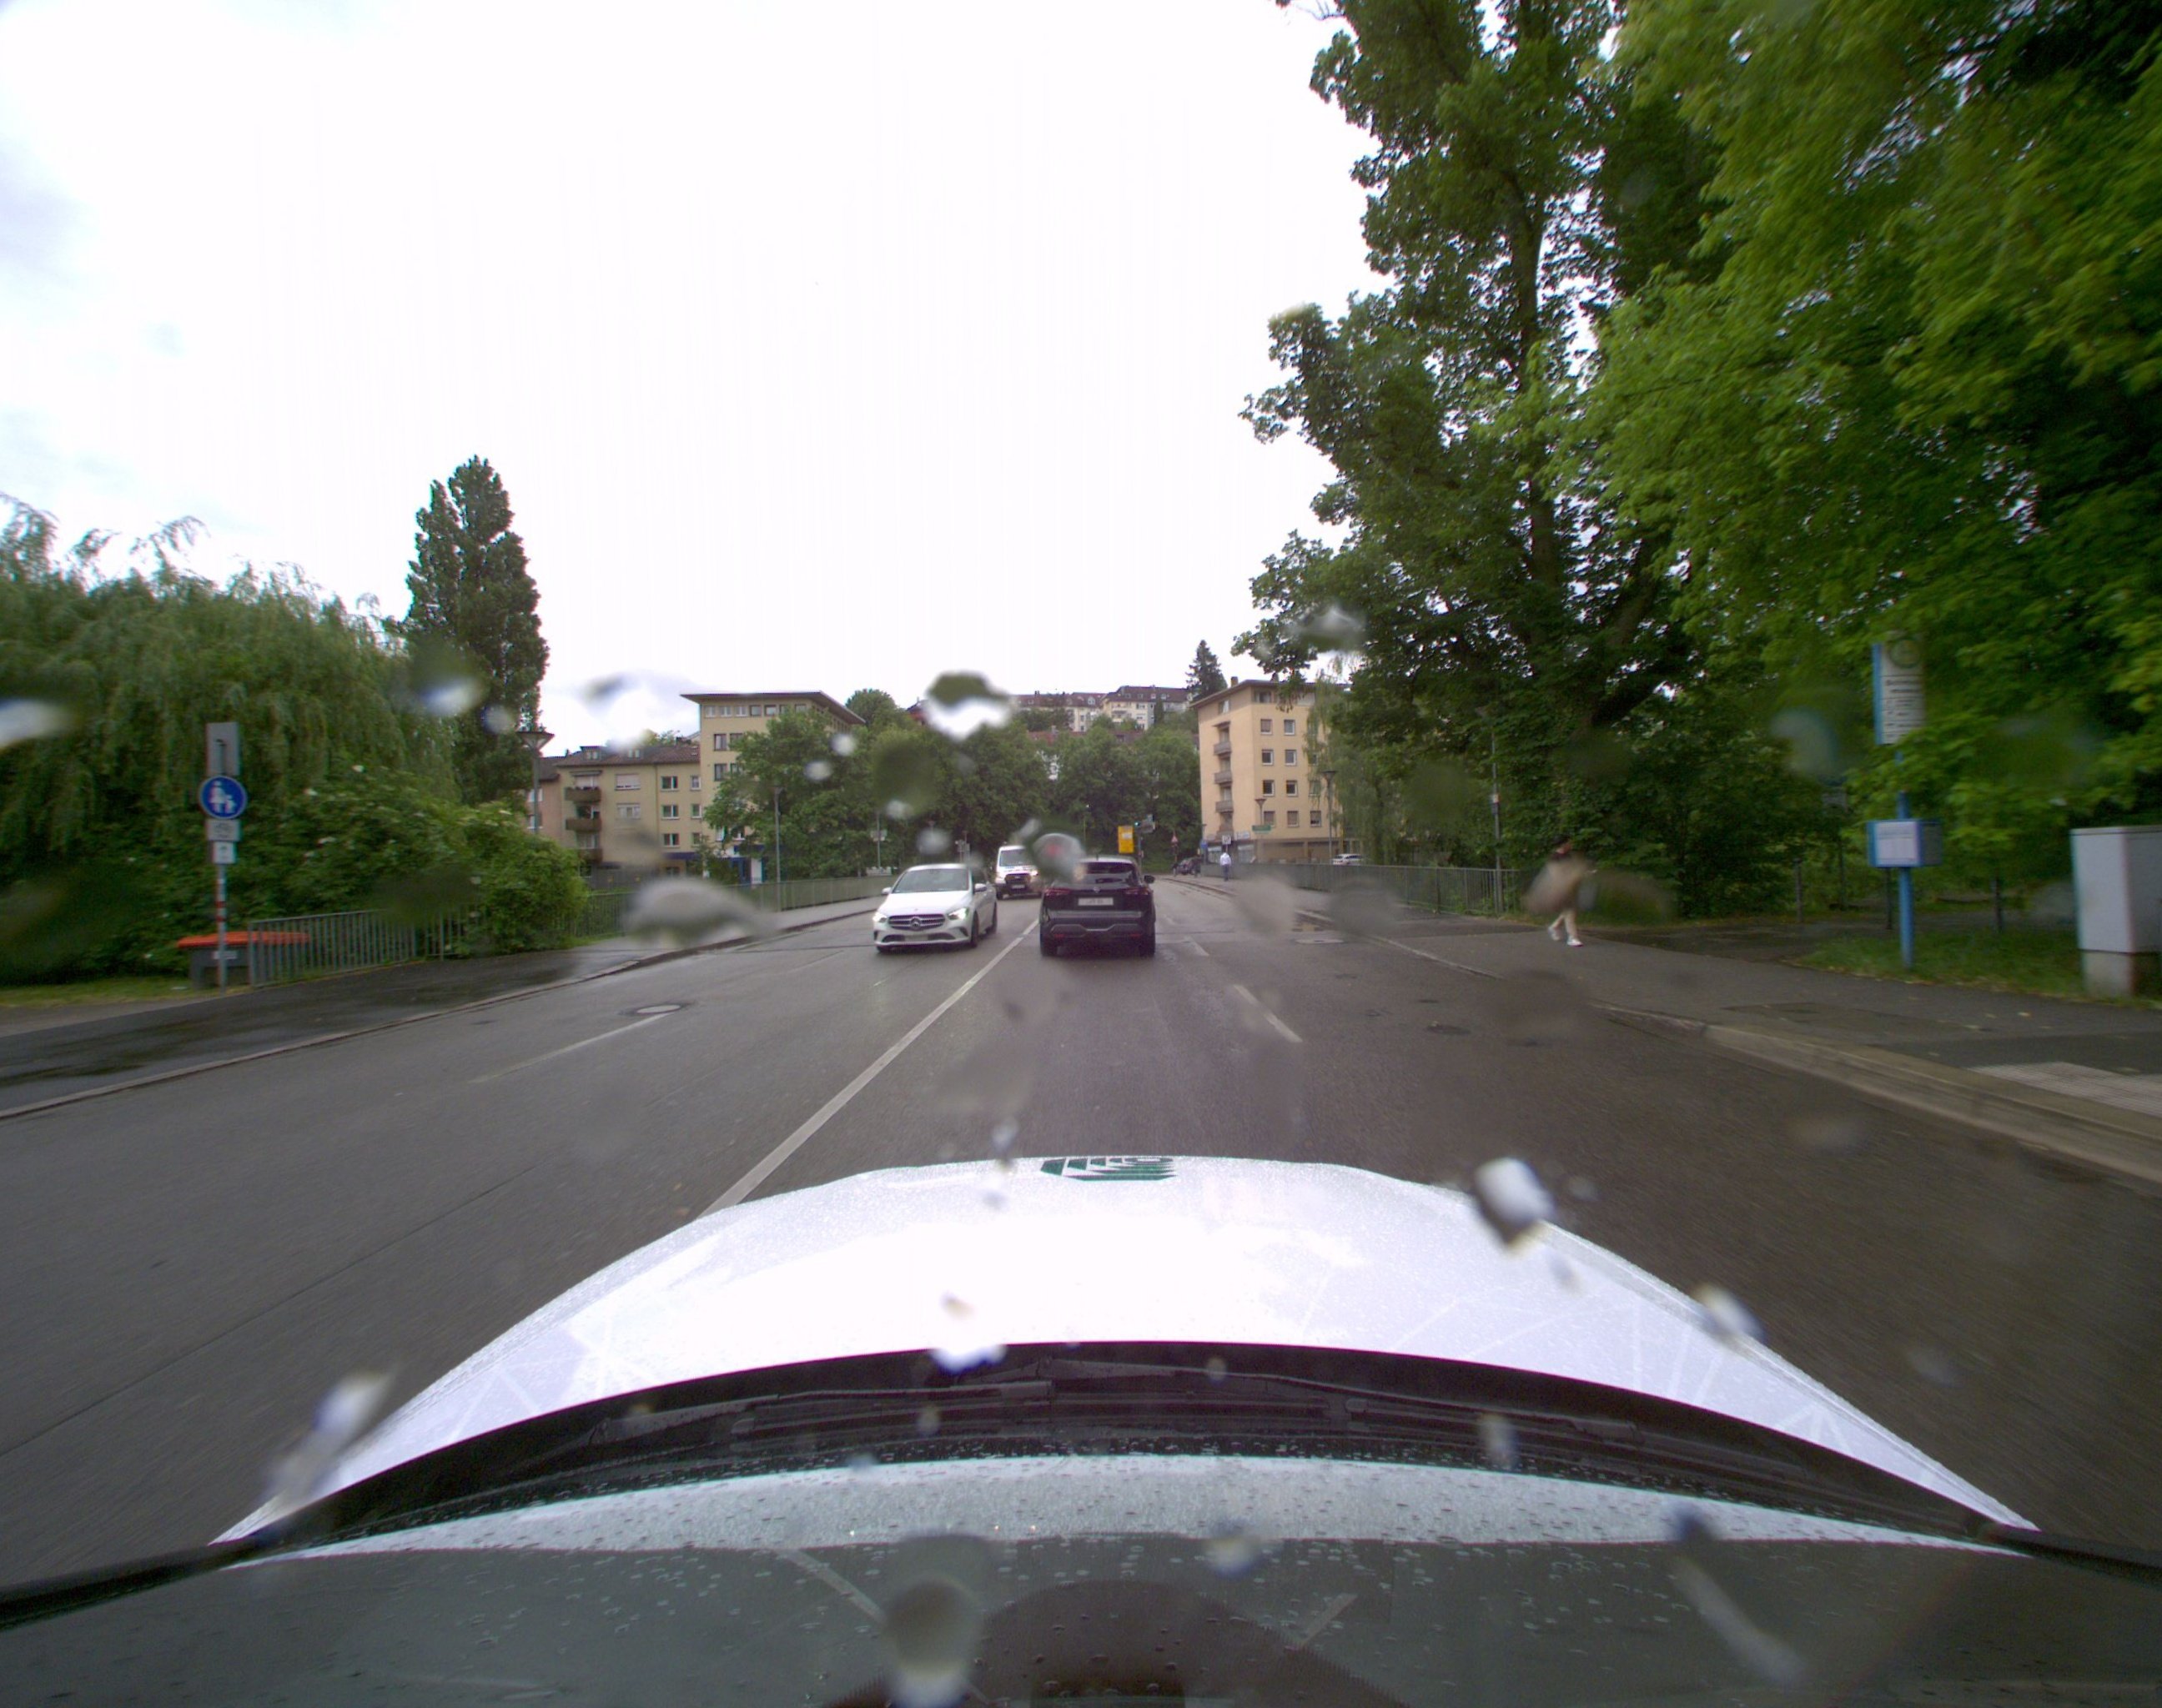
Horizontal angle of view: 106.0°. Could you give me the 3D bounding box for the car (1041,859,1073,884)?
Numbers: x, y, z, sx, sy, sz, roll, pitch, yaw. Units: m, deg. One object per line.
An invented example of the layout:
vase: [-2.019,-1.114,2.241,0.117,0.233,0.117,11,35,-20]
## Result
car: [-1.533,1.108,52.430,1.739,1.439,4.002,-2,-1,2]

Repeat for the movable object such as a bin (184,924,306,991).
movable object such as a bin: [-12.568,1.539,12.277,0.962,0.877,0.833,-2,-1,1]

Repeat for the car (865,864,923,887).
car: [-16.726,1.922,73.048,4.738,1.854,1.995,-2,1,-7]

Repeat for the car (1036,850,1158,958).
car: [0.304,0.753,14.166,1.804,1.603,4.001,-1,0,2]

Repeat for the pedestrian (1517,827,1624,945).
pedestrian: [7.518,0.478,12.577,0.844,1.676,1.168,-4,-1,1]

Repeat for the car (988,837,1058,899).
car: [-2.349,0.541,35.110,2.281,2.308,6.511,-3,0,1]

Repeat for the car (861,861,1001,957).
car: [-2.737,0.955,15.814,1.775,1.474,4.168,-3,0,1]

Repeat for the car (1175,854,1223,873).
car: [11.648,0.961,80.323,4.387,1.649,1.868,-3,-1,-24]

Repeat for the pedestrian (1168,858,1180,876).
pedestrian: [8.485,1.163,74.328,0.859,1.619,0.840,-3,-1,2]

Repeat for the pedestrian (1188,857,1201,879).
pedestrian: [8.761,1.057,62.904,0.758,1.677,0.781,-4,0,2]

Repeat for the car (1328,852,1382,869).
car: [25.241,0.613,75.016,4.447,1.376,1.808,-2,1,-15]

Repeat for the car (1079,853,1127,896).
car: [0.885,0.779,32.757,1.804,1.603,4.001,0,0,2]

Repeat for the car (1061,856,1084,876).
car: [-0.736,1.115,76.077,1.881,1.735,4.373,-3,-1,2]

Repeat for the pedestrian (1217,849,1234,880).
pedestrian: [8.418,0.635,47.595,0.777,1.752,1.061,-2,-1,1]
